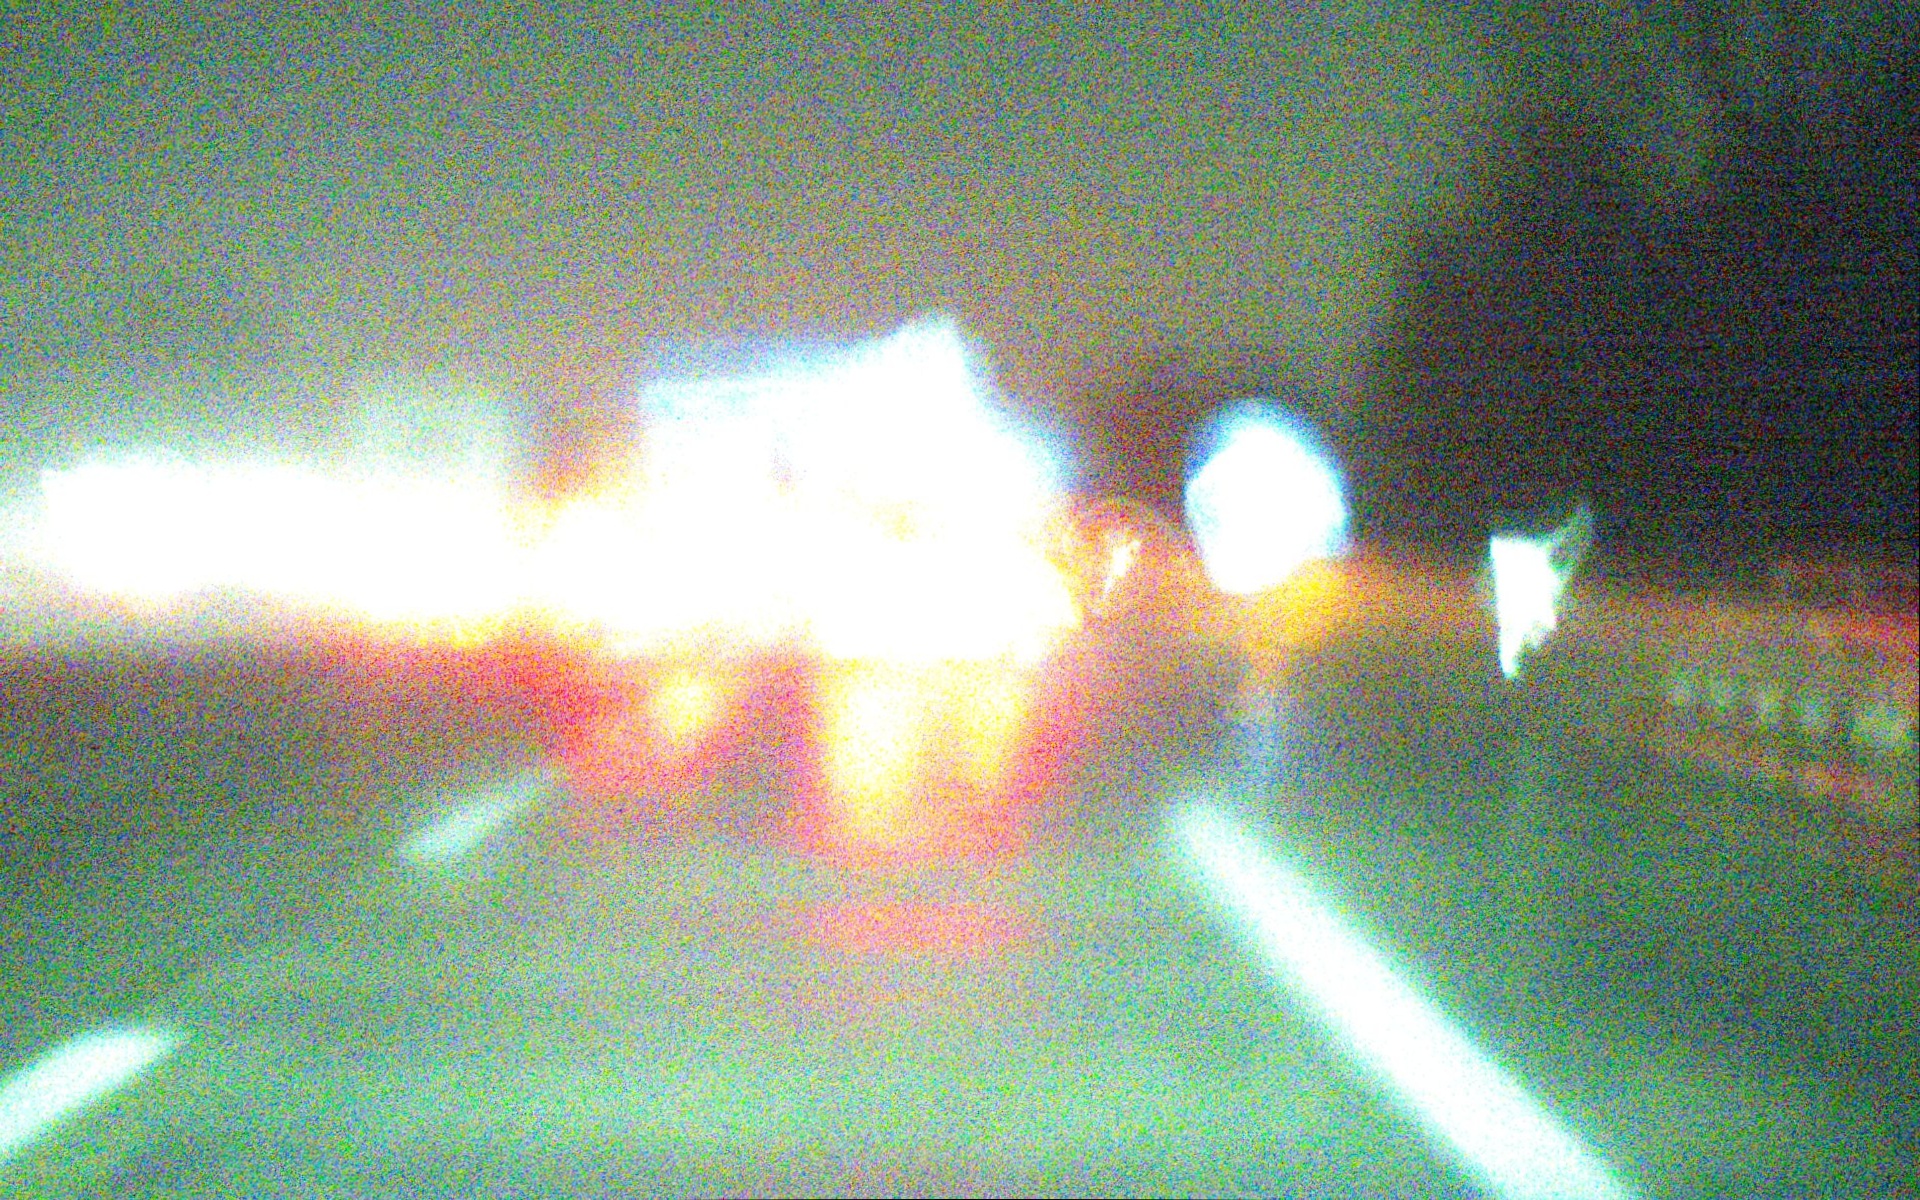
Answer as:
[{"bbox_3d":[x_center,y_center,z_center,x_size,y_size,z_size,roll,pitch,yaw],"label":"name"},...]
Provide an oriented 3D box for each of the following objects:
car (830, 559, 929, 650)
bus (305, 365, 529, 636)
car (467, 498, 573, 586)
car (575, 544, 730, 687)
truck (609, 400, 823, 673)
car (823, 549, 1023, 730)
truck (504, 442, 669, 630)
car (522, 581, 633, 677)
[{"bbox_3d":[-1.898,0.077,79.519,2.125,2.007,4.646,1,0,-3],"label":"car"},{"bbox_3d":[-9.808,-1.712,63.220,3.096,4.492,10.915,1,0,-4],"label":"bus"},{"bbox_3d":[-9.428,-1.231,73.936,1.993,1.801,4.001,1,0,-4],"label":"car"},{"bbox_3d":[-4.539,0.204,51.336,2.125,2.007,4.646,1,0,-3],"label":"car"},{"bbox_3d":[-5.317,-1.357,77.467,4.210,5.629,11.468,1,0,-1],"label":"truck"},{"bbox_3d":[-0.404,0.386,36.813,1.993,1.801,4.000,1,0,-1],"label":"car"},{"bbox_3d":[-11.797,-1.980,109.834,4.210,5.629,11.468,1,0,-1],"label":"truck"},{"bbox_3d":[-7.567,0.552,68.370,1.993,1.801,4.001,1,0,-4],"label":"car"}]
